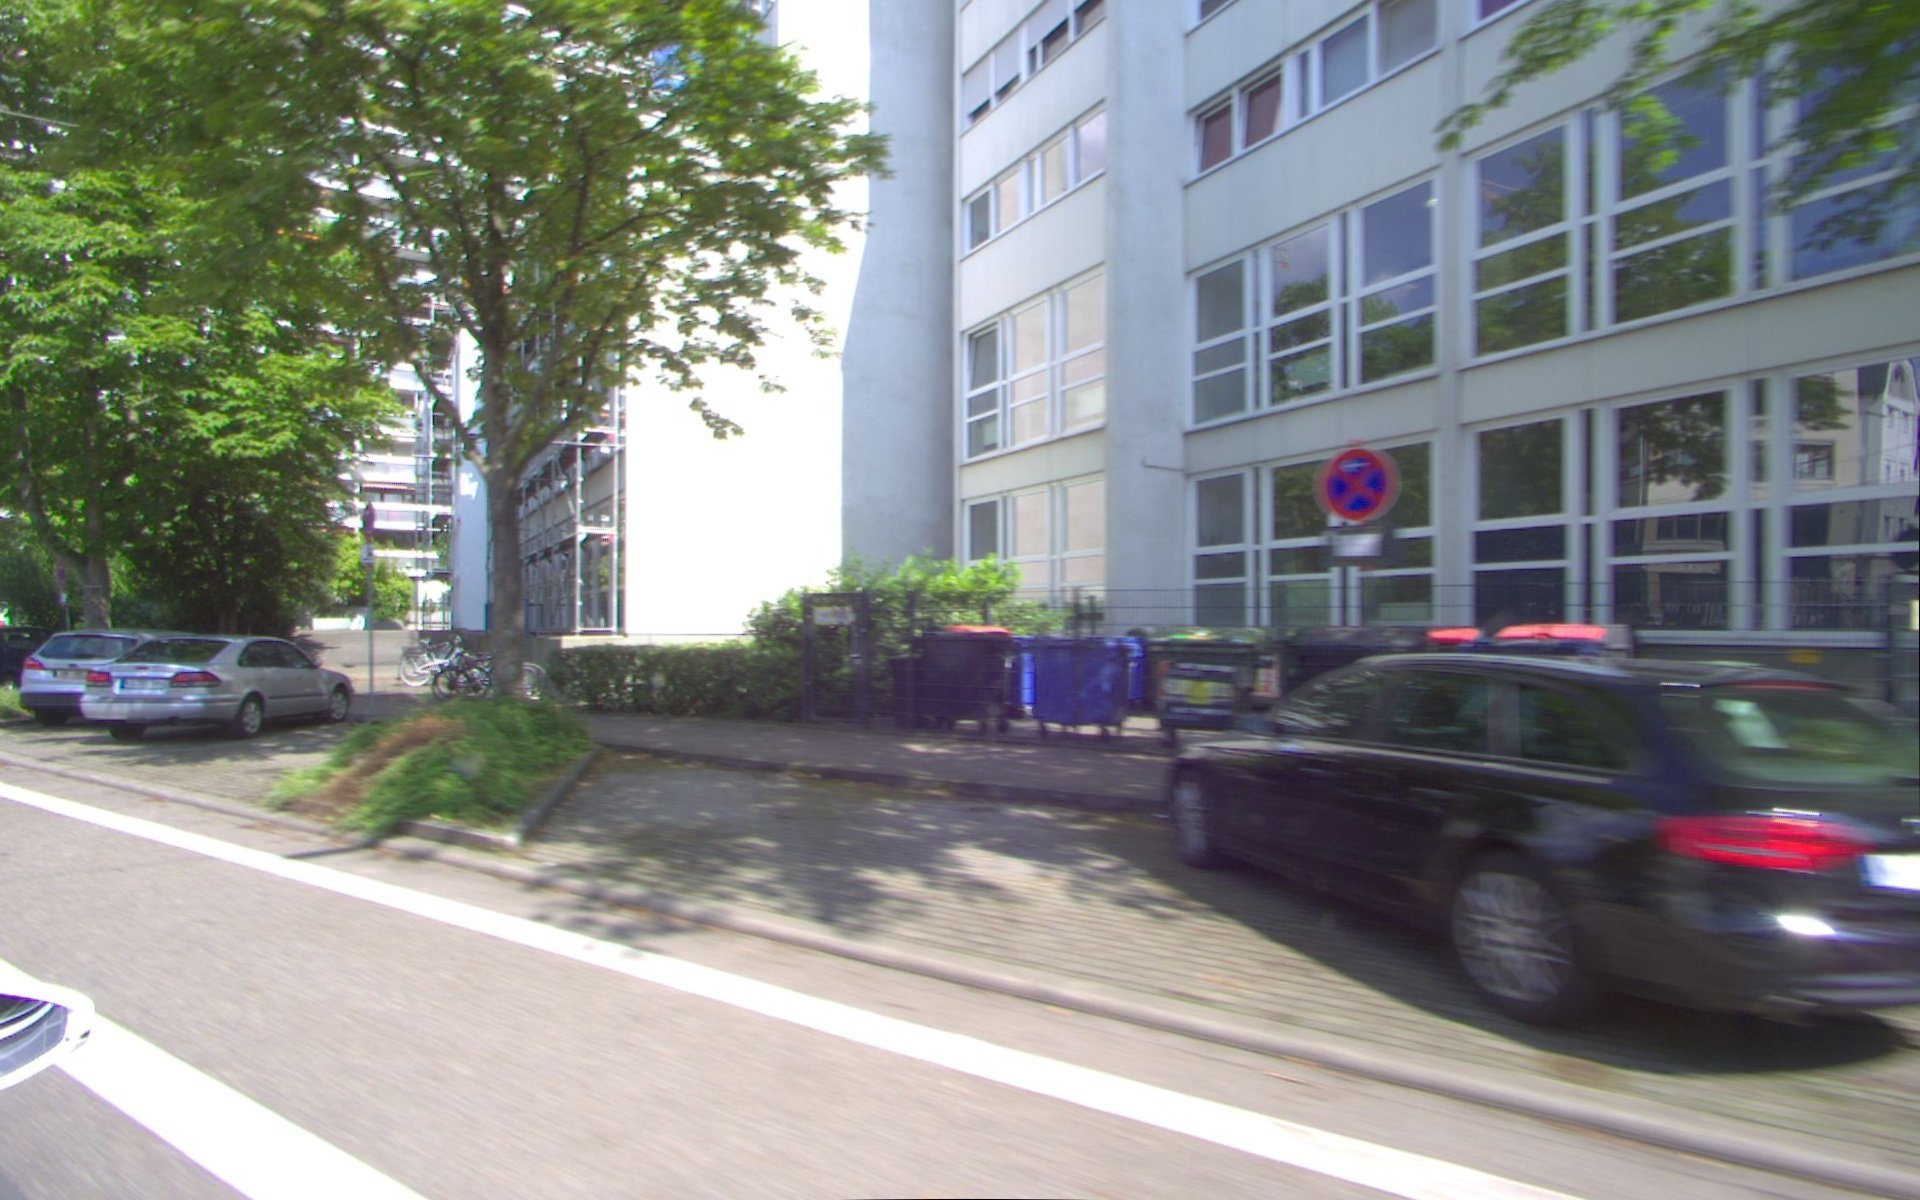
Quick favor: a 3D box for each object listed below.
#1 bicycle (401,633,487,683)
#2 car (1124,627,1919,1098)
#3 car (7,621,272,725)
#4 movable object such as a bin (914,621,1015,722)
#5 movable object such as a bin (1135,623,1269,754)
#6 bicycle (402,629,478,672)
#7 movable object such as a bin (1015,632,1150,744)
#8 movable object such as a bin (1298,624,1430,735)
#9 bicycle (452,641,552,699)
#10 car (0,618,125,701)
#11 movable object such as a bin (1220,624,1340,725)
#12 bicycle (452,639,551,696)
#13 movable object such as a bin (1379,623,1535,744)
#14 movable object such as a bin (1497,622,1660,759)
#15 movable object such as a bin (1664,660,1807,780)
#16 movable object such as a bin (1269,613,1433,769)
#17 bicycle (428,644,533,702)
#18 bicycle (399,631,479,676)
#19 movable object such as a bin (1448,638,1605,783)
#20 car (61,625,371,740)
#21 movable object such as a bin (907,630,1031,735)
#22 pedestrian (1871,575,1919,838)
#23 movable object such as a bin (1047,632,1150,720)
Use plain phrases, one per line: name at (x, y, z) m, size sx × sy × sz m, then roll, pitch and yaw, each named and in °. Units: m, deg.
bicycle at (-12.304, 1.377, 23.923) m, size 1.804 × 1.111 × 0.449 m, roll 0°, pitch 3°, yaw -27°
car at (2.701, 0.952, 5.567) m, size 1.994 × 1.460 × 4.535 m, roll 1°, pitch -3°, yaw -13°
car at (-13.292, 1.143, 16.551) m, size 1.621 × 1.493 × 3.805 m, roll 2°, pitch -2°, yaw -8°
movable object such as a bin at (0.062, 1.098, 15.637) m, size 1.250 × 1.500 × 0.932 m, roll 2°, pitch -1°, yaw -30°
movable object such as a bin at (2.967, 1.048, 12.181) m, size 1.330 × 1.455 × 1.276 m, roll 1°, pitch -3°, yaw 25°
bicycle at (-14.002, 1.347, 26.994) m, size 1.805 × 1.110 × 0.449 m, roll 0°, pitch 0°, yaw -27°
movable object such as a bin at (1.603, 1.107, 12.998) m, size 1.339 × 1.352 × 1.274 m, roll -1°, pitch -3°, yaw 31°
movable object such as a bin at (5.845, 1.100, 14.514) m, size 1.362 × 1.466 × 1.254 m, roll -1°, pitch 1°, yaw -36°
bicycle at (-9.491, 1.430, 20.783) m, size 1.873 × 1.110 × 0.449 m, roll 0°, pitch 1°, yaw -27°
car at (-18.886, 1.129, 20.089) m, size 1.586 × 1.505 × 3.995 m, roll 0°, pitch 0°, yaw -13°
movable object such as a bin at (5.066, 1.137, 15.867) m, size 1.362 × 1.466 × 1.254 m, roll -1°, pitch 1°, yaw -36°
bicycle at (-9.709, 1.419, 21.232) m, size 1.873 × 1.110 × 0.449 m, roll 0°, pitch 1°, yaw -27°
movable object such as a bin at (6.526, 1.063, 13.187) m, size 1.194 × 1.474 × 1.444 m, roll 2°, pitch -2°, yaw -34°
movable object such as a bin at (7.397, 1.024, 11.984) m, size 1.362 × 1.466 × 1.254 m, roll -1°, pitch 1°, yaw -36°
movable object such as a bin at (8.298, 1.243, 10.722) m, size 1.020 × 1.105 × 0.924 m, roll -2°, pitch 1°, yaw -32°
movable object such as a bin at (4.276, 0.940, 10.919) m, size 1.449 × 1.558 × 1.273 m, roll -1°, pitch -2°, yaw 33°
bicycle at (-9.636, 1.451, 20.178) m, size 1.873 × 1.067 × 0.449 m, roll 0°, pitch 1°, yaw -27°
bicycle at (-13.472, 1.373, 25.931) m, size 1.805 × 1.110 × 0.449 m, roll 1°, pitch 0°, yaw -27°
movable object such as a bin at (5.735, 1.052, 10.126) m, size 1.307 × 1.335 × 1.273 m, roll -1°, pitch -2°, yaw 33°
car at (-10.717, 1.106, 14.885) m, size 1.690 × 1.438 × 4.243 m, roll 1°, pitch -1°, yaw -5°
movable object such as a bin at (0.136, 1.100, 13.743) m, size 1.218 × 1.352 × 1.274 m, roll -1°, pitch -3°, yaw 31°
pedestrian at (7.379, 0.772, 7.326) m, size 0.990 × 1.898 × 0.758 m, roll 0°, pitch -1°, yaw 38°
movable object such as a bin at (2.343, 1.242, 16.942) m, size 1.201 × 1.356 × 1.252 m, roll -1°, pitch 1°, yaw -42°
